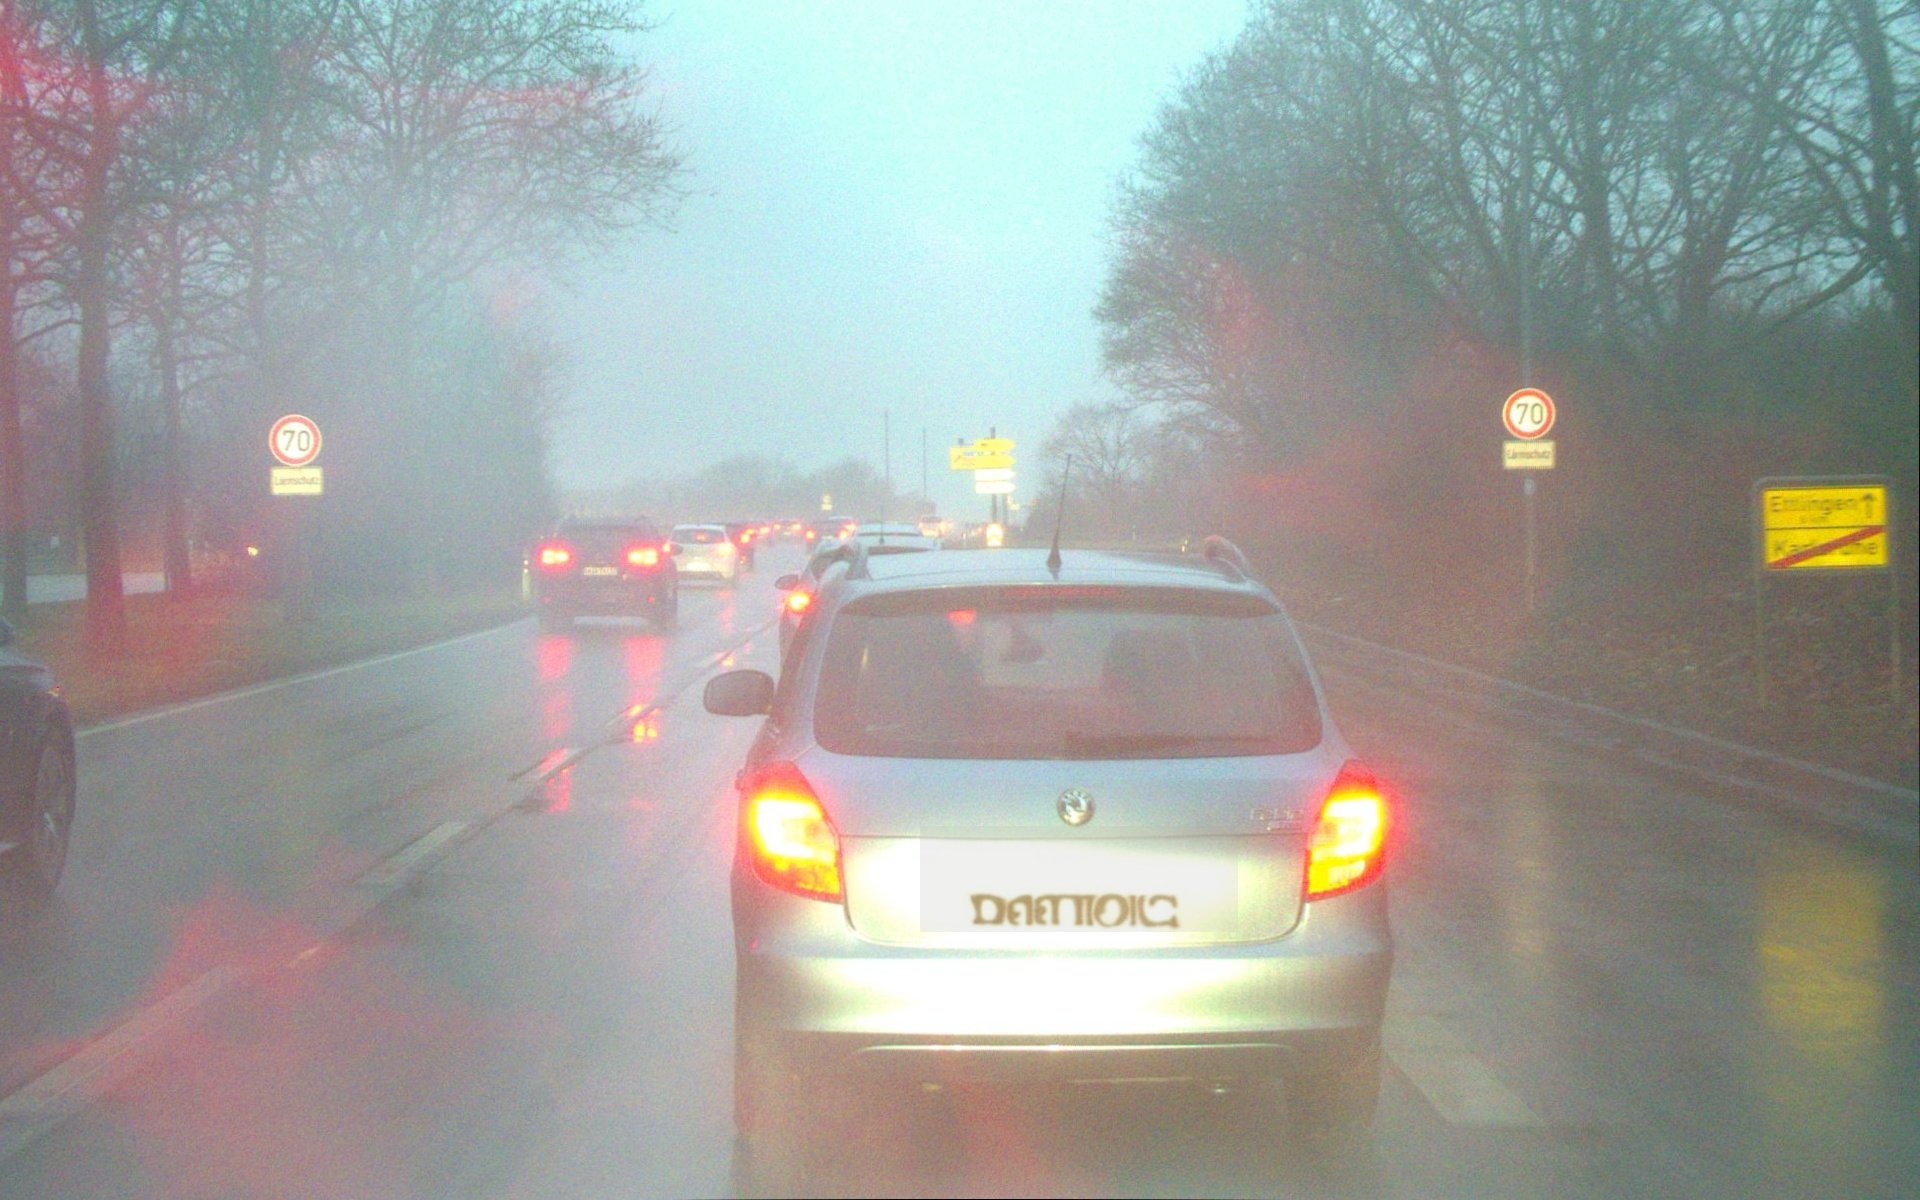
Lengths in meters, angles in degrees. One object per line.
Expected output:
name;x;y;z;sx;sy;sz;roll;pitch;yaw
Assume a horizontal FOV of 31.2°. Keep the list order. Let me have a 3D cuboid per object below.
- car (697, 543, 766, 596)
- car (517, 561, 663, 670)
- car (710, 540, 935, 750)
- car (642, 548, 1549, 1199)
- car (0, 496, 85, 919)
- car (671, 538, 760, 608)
car;-6.675;-0.909;100.693;1.789;1.478;4.000;-1;1;-1
car;-5.470;0.196;51.188;1.789;1.540;4.000;0;1;-1
car;-1.191;0.355;31.318;1.897;1.761;4.309;0;1;-1
car;0.278;0.617;9.662;1.993;1.495;4.138;0;1;-1
car;-4.573;0.401;12.152;1.993;1.596;4.309;1;1;-2
car;-5.581;-0.643;78.844;1.789;1.540;4.000;-1;1;-1
